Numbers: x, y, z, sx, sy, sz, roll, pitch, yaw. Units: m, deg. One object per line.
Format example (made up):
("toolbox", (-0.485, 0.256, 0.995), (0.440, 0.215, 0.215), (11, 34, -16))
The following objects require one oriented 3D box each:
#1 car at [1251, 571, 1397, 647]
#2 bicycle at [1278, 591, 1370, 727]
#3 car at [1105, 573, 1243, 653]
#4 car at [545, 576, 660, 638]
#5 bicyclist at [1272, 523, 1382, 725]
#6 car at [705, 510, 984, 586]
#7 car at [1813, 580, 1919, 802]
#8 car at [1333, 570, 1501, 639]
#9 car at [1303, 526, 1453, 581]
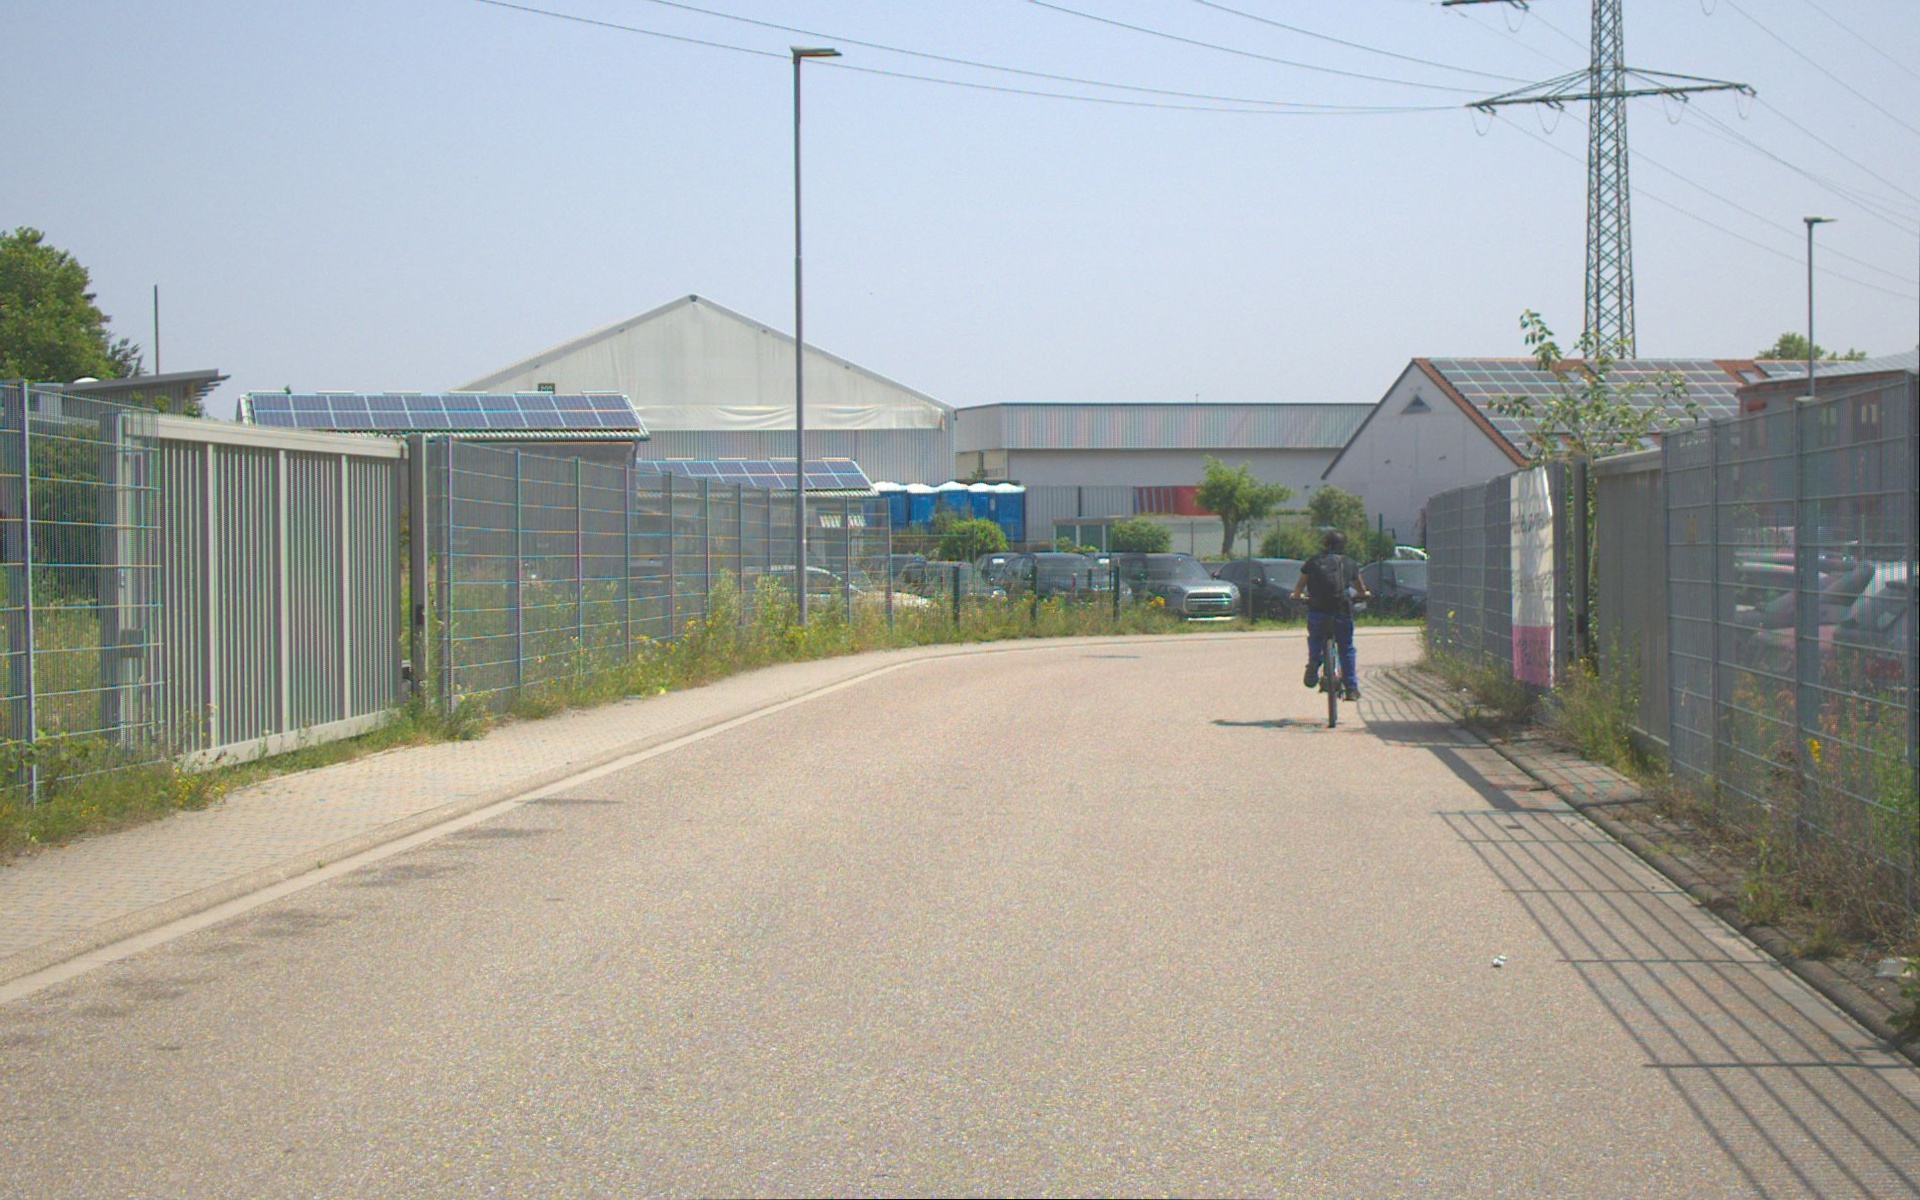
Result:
("car", (7.717, 0.163, 73.266), (1.862, 1.549, 3.772), (0, 1, -15))
("bicycle", (3.038, 0.472, 28.558), (0.685, 1.048, 1.900), (1, 1, 8))
("car", (4.510, 0.259, 73.067), (1.862, 1.638, 3.635), (0, 1, -15))
("car", (-7.763, 0.137, 74.391), (1.862, 1.294, 3.442), (0, 1, -17))
("bicyclist", (3.051, 0.180, 28.512), (0.842, 1.613, 1.039), (1, 2, 8))
("car", (-2.027, -0.906, 59.829), (4.546, 1.302, 1.869), (0, 1, -14))
("car", (8.272, 0.698, 24.007), (4.163, 1.469, 1.638), (3, 1, 1))
("car", (9.929, 0.081, 75.049), (1.995, 1.430, 4.667), (0, 1, -15))
("car", (12.260, -1.363, 100.934), (3.986, 1.593, 1.877), (0, 1, -13))
